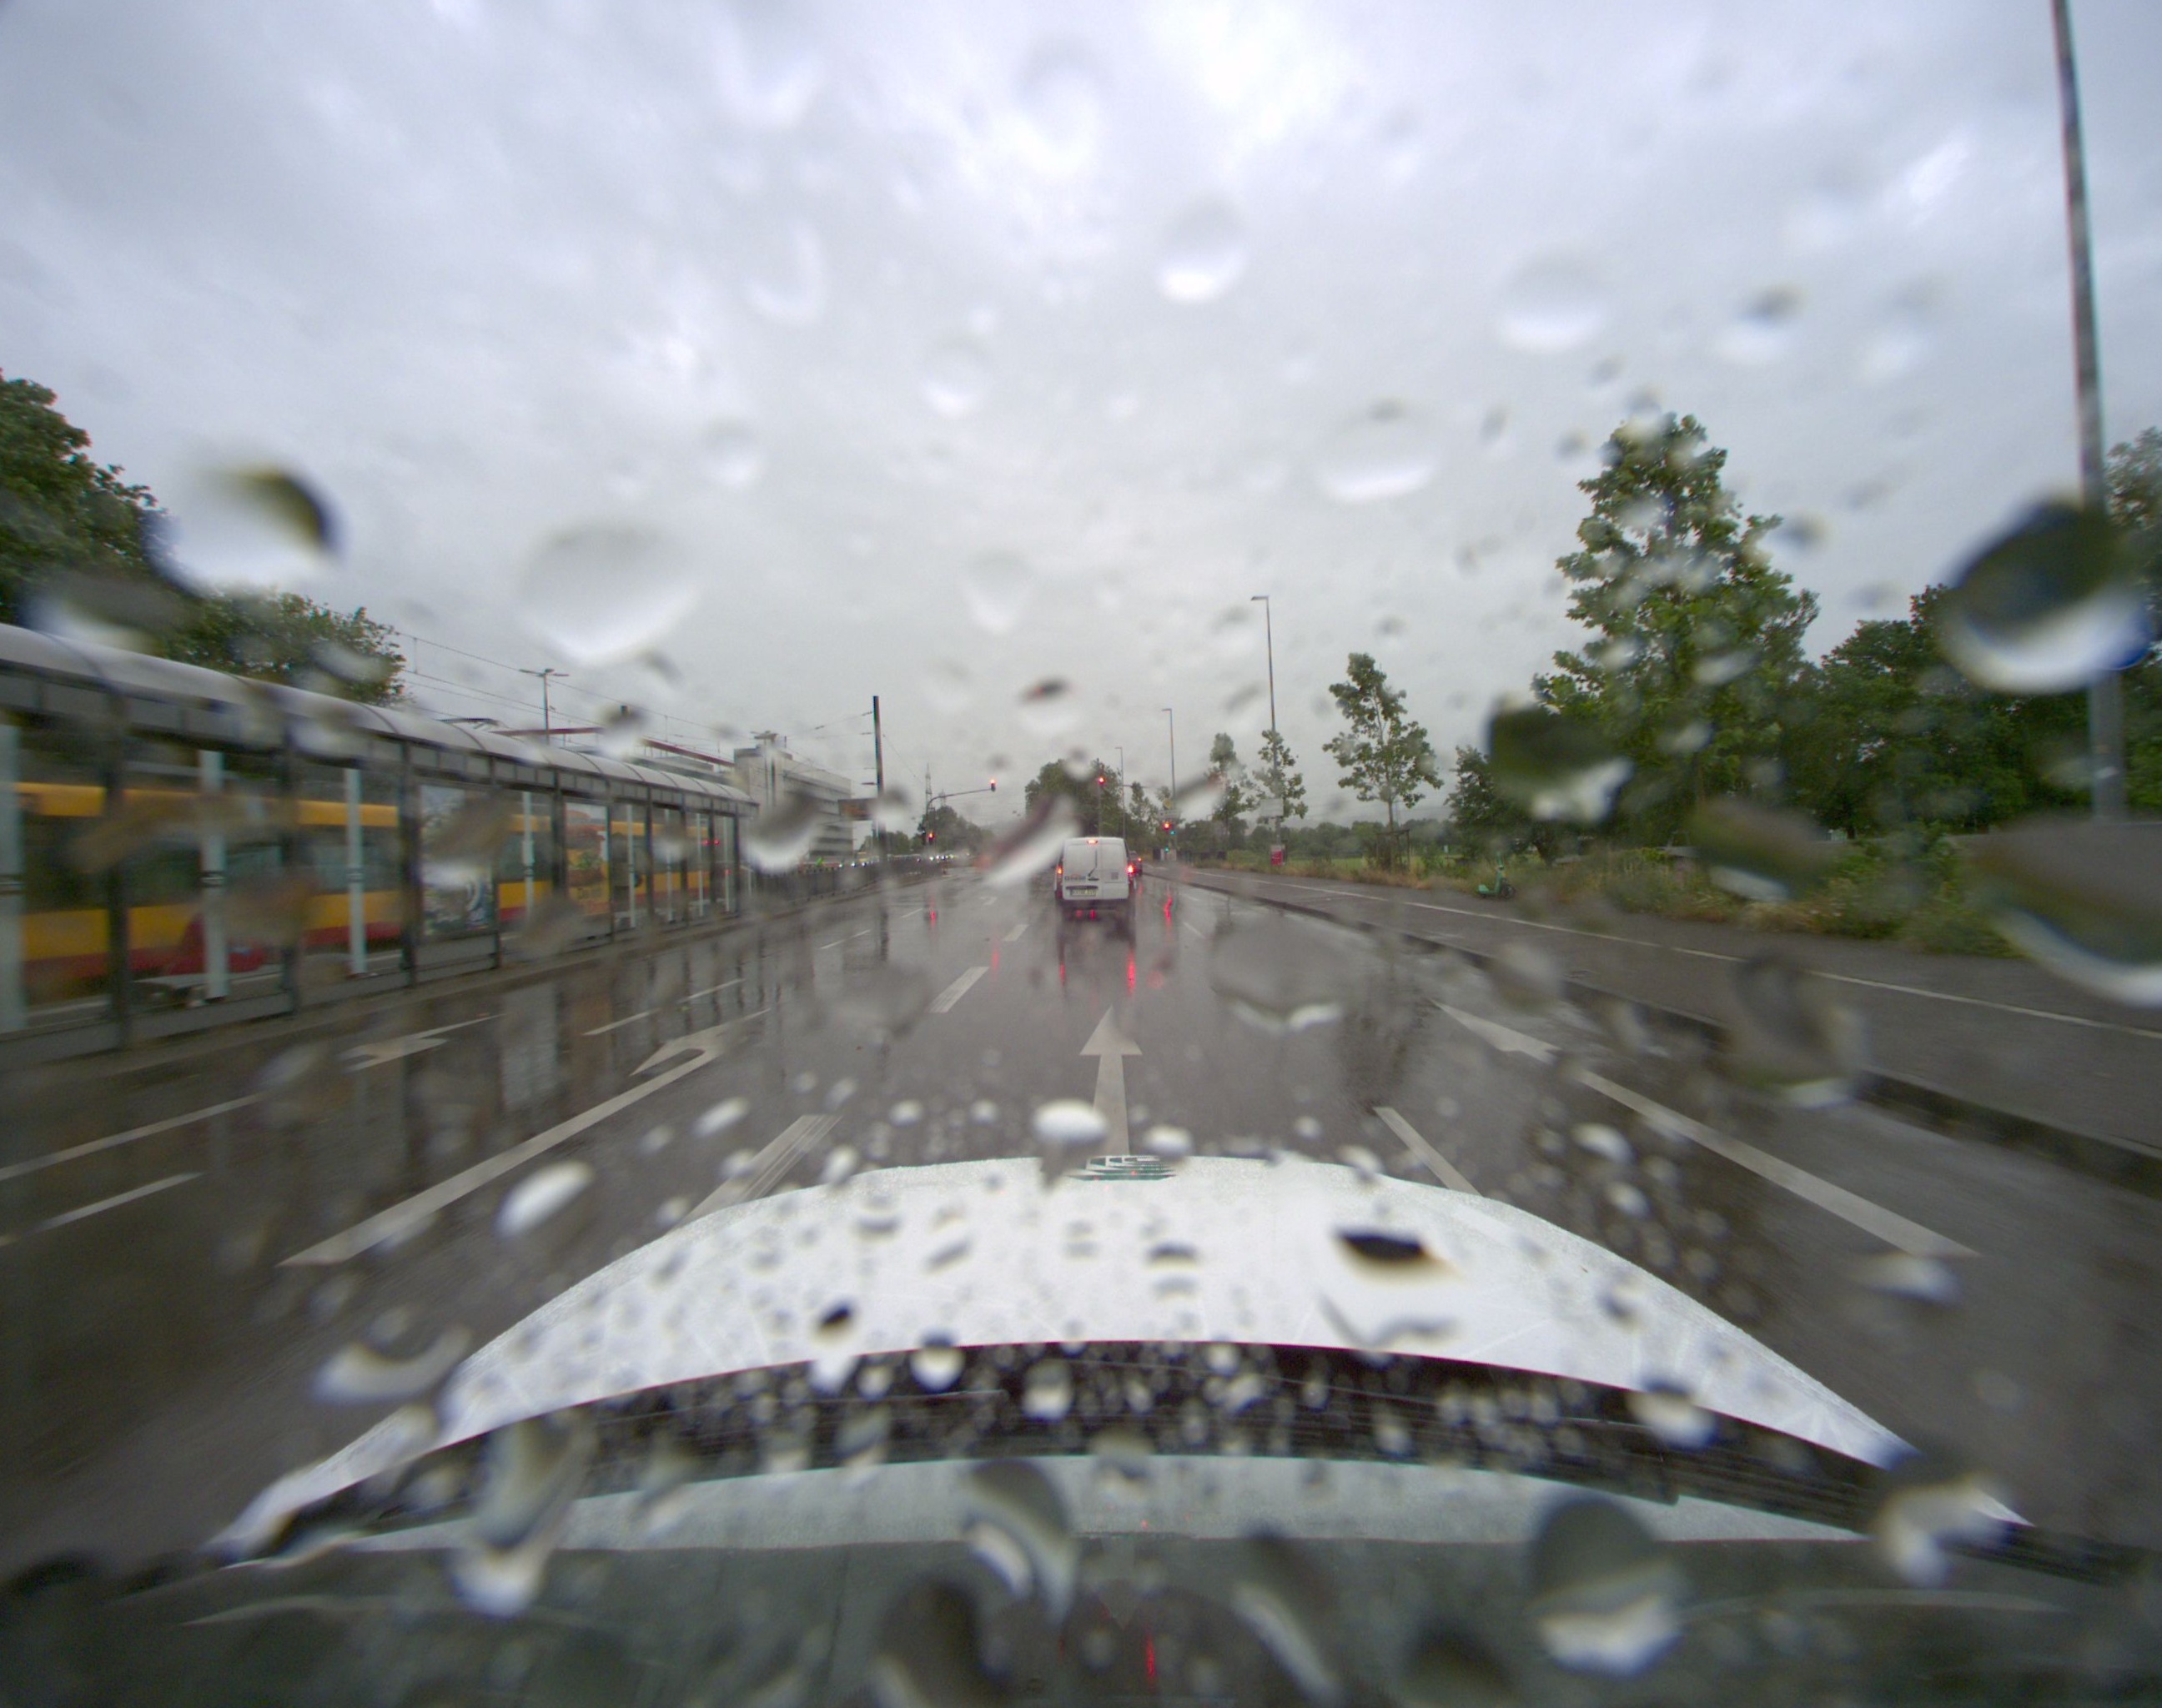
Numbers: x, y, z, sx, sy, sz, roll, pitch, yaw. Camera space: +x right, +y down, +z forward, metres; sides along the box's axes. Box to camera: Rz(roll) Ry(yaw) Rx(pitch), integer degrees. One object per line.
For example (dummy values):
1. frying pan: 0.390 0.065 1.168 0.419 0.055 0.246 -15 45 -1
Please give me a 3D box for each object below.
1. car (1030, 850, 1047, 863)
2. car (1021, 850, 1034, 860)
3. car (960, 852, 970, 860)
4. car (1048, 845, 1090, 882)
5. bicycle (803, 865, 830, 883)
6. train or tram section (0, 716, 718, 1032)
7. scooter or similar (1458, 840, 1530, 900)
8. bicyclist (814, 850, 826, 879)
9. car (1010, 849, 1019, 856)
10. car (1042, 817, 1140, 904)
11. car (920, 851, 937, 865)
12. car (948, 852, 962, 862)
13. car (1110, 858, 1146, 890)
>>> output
1. car: -5.777 0.368 110.284 1.991 1.750 3.991 -1 0 -6
2. car: -9.034 0.172 137.532 1.991 1.750 3.991 -1 0 -6
3. car: -30.199 0.475 211.871 1.988 2.013 3.997 -1 0 -2
4. car: -0.583 0.464 41.322 1.987 1.750 3.999 -1 0 0
5. bicycle: -18.870 1.418 58.127 1.653 1.189 0.594 -2 -1 -7
6. train or tram section: -15.968 0.247 19.012 3.760 4.036 27.071 -1 0 -2
7. scooter or similar: 8.723 0.321 17.267 0.641 1.195 1.561 -2 0 -3
8. bicyclist: -18.658 0.759 58.152 0.694 2.013 0.550 -1 0 -7
9. car: -15.447 -0.343 189.855 1.991 1.750 3.991 -1 0 -6
10. car: 0.121 0.117 18.979 2.020 1.775 4.270 -1 0 -3
11. car: -23.357 0.598 125.064 1.989 2.013 3.995 -1 0 -4
12. car: -25.482 0.593 165.015 1.986 2.013 4.002 -1 0 2
13. car: 2.705 1.113 47.833 1.986 1.750 4.002 -1 0 2
